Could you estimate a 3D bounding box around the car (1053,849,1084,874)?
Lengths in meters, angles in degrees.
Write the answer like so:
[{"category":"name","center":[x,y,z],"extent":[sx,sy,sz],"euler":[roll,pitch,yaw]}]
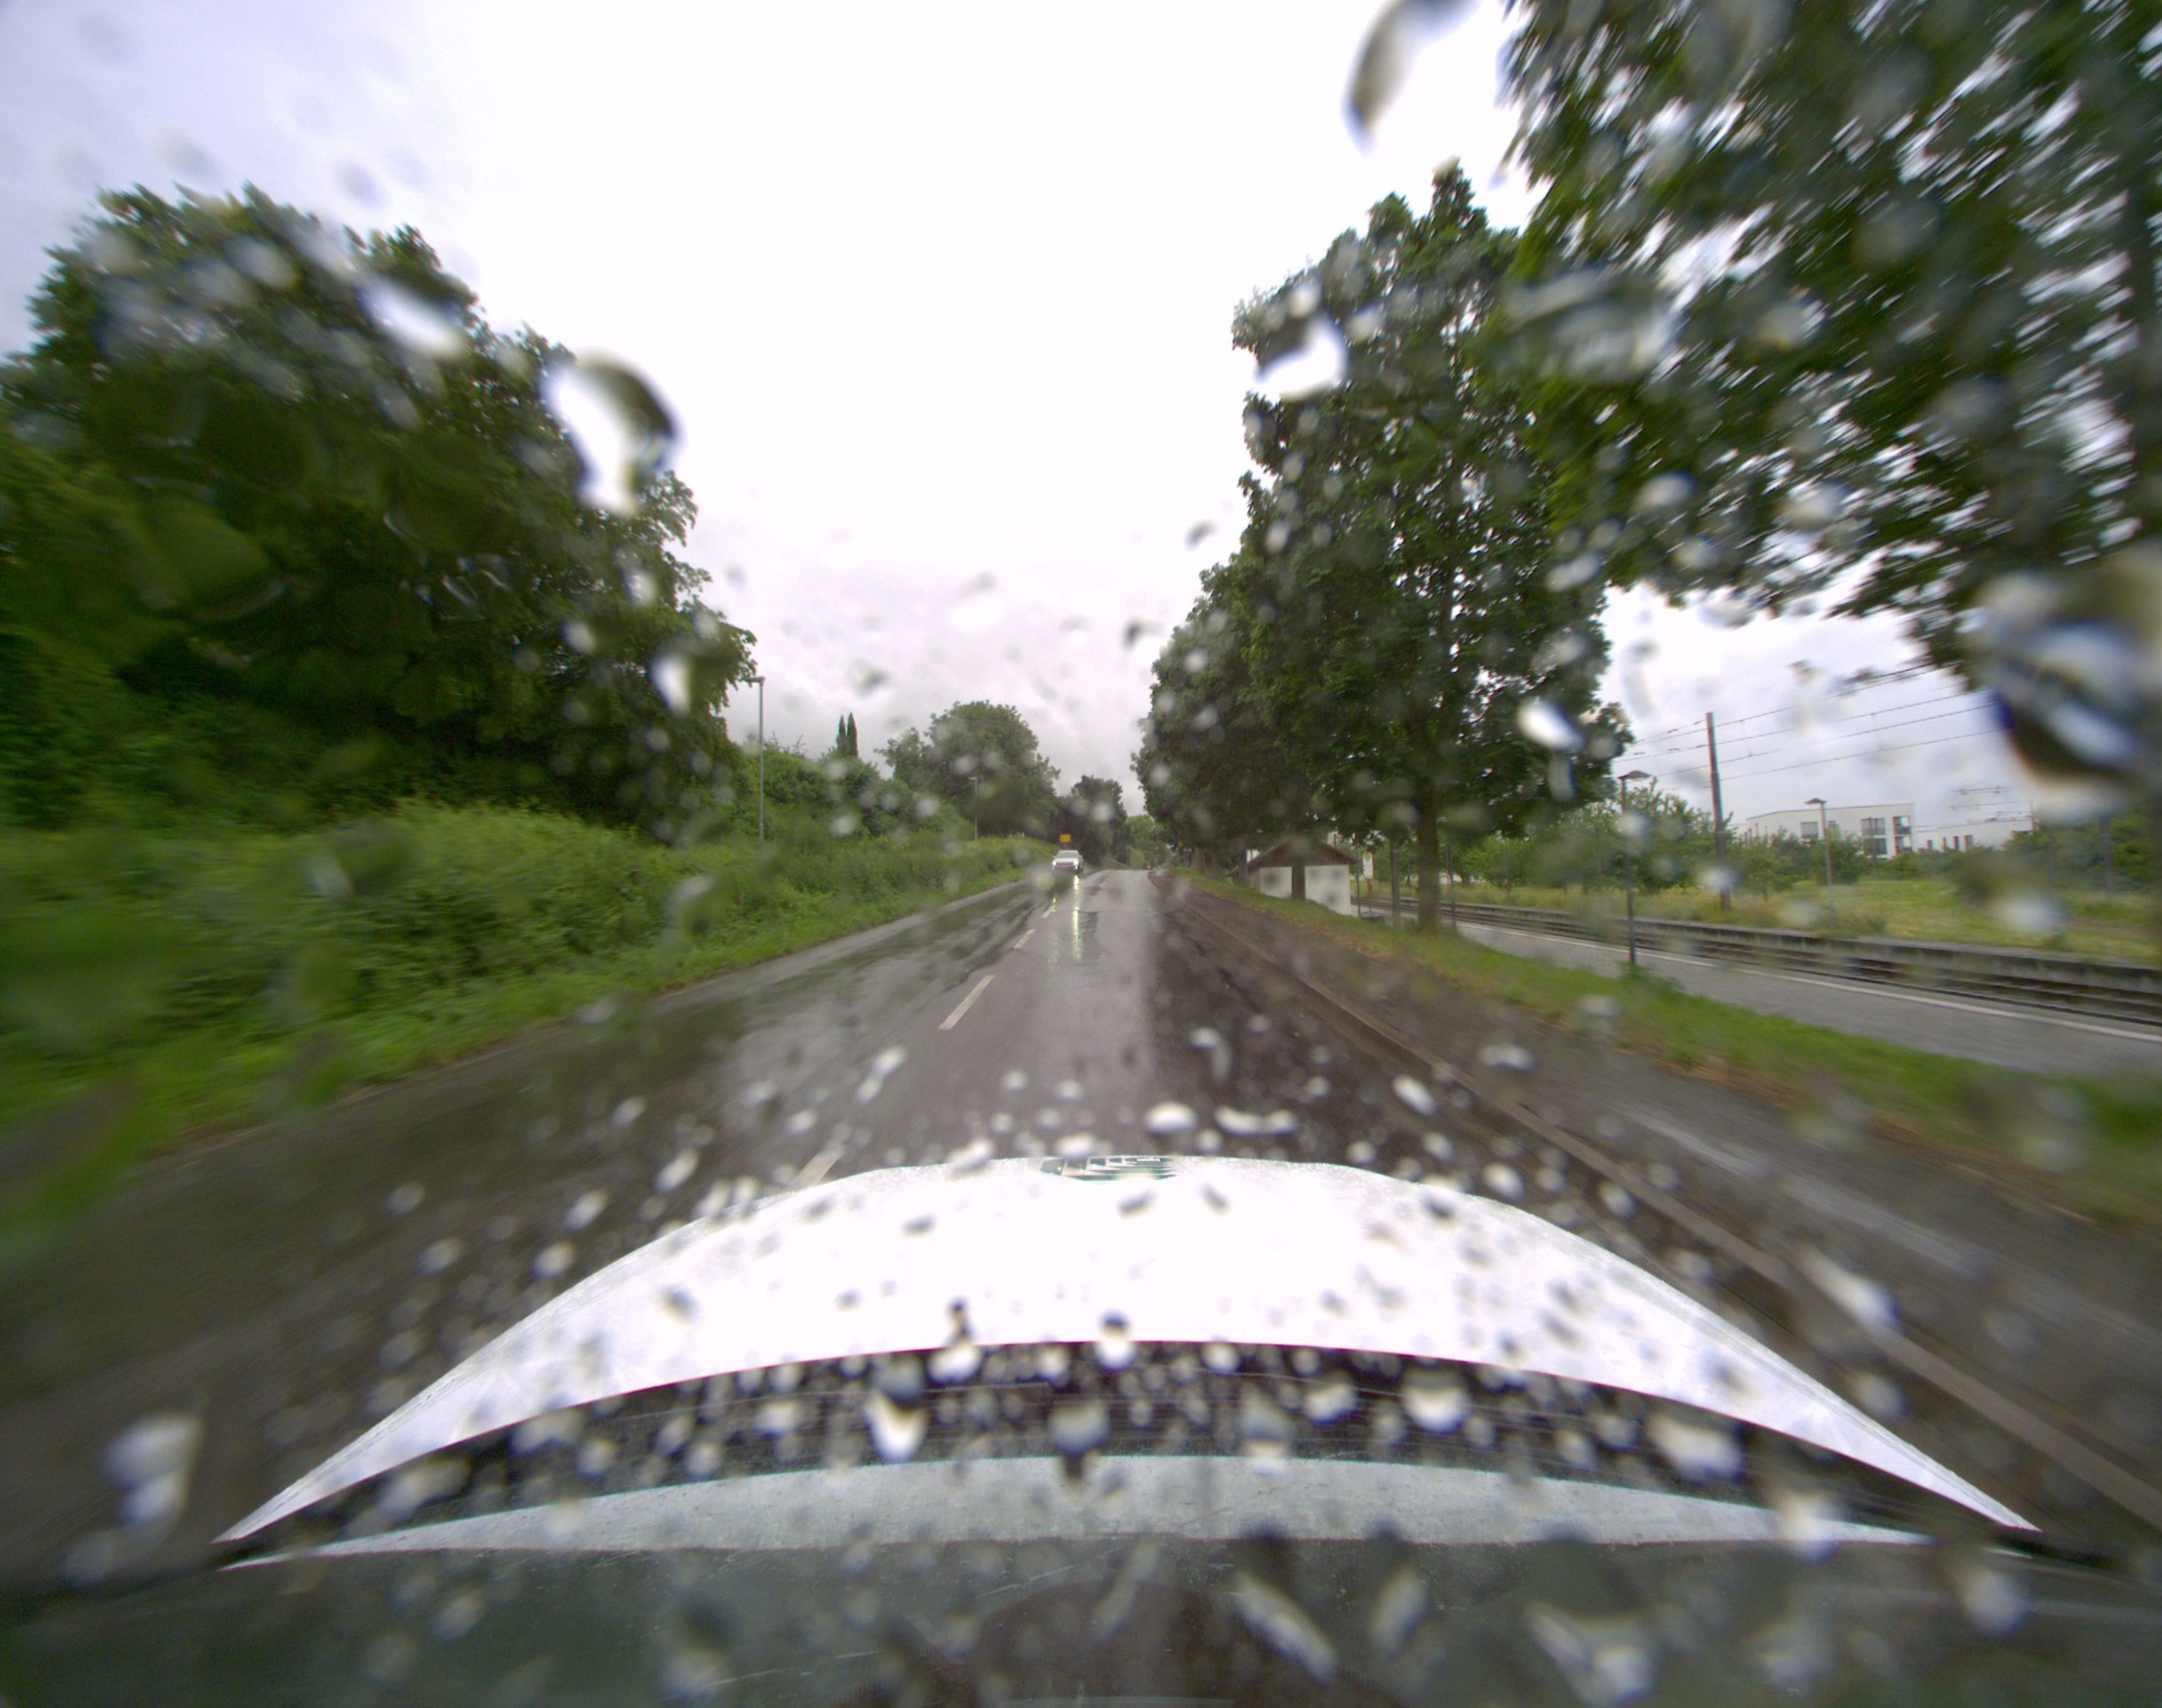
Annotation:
[{"category":"car","center":[-0.786,0.458,54.768],"extent":[1.774,1.504,4.003],"euler":[-1,1,3]}]
